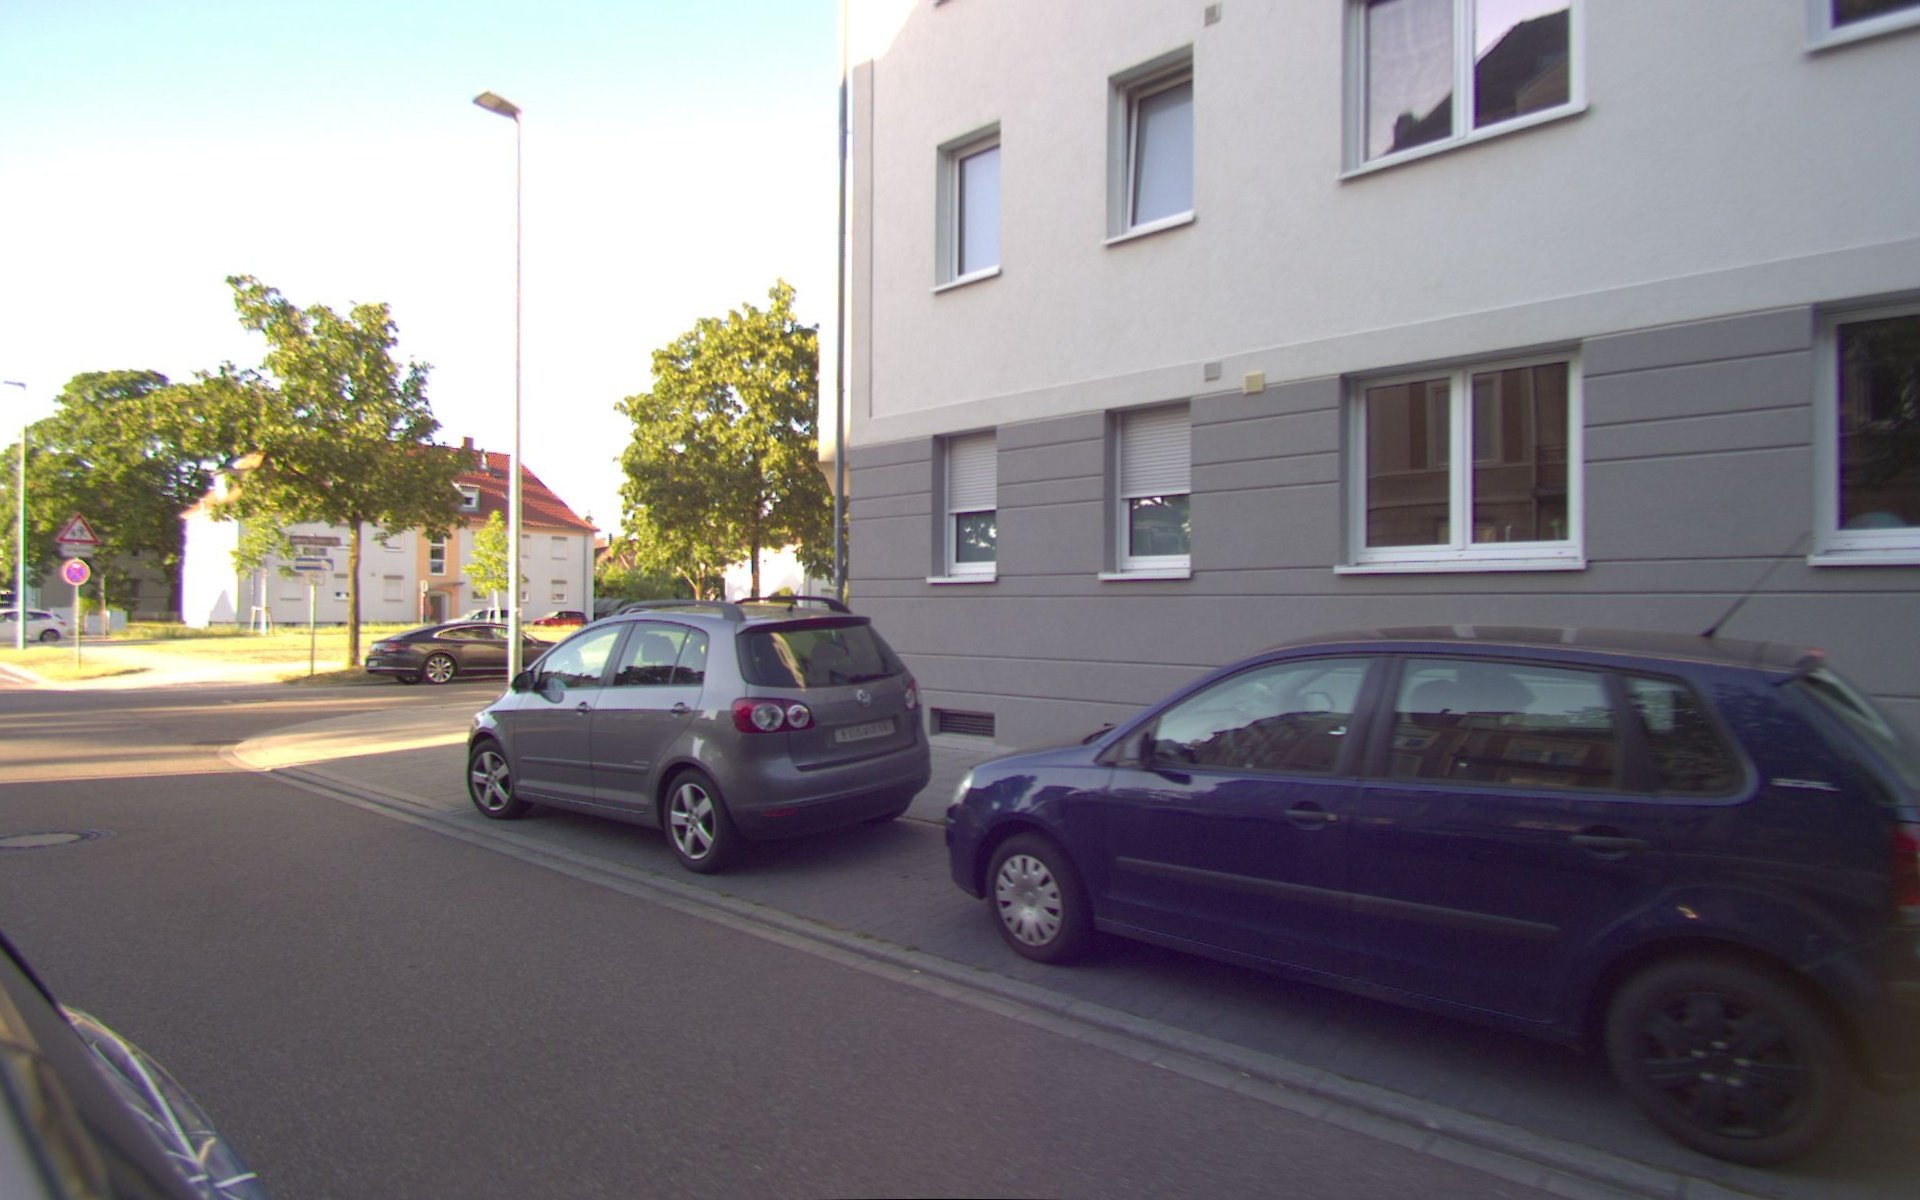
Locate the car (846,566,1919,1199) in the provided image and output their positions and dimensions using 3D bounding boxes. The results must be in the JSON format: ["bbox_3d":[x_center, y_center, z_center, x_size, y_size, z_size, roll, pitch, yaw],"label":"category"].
[{"bbox_3d":[1.628,0.745,4.286,4.085,1.603,1.866,-1,-1,38],"label":"car"}]

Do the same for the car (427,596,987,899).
[{"bbox_3d":[-1.985,0.810,7.375,4.085,1.603,1.866,-1,-1,38],"label":"car"}]

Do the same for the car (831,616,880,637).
[{"bbox_3d":[-8.785,2.209,85.369,1.848,1.708,3.948,-3,-3,38],"label":"car"}]

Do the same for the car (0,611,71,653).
[{"bbox_3d":[-39.743,1.321,41.737,1.862,1.708,4.259,-2,-2,28],"label":"car"}]

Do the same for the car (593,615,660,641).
[{"bbox_3d":[-22.504,1.865,68.302,1.848,1.708,3.948,-3,-3,38],"label":"car"}]

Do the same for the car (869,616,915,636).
[{"bbox_3d":[-5.977,2.298,88.825,1.848,1.708,3.948,-3,-3,38],"label":"car"}]

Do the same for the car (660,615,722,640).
[{"bbox_3d":[-19.270,1.937,72.559,1.848,1.708,3.948,-3,-3,38],"label":"car"}]

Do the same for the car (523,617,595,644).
[{"bbox_3d":[-25.704,1.952,64.987,1.848,1.708,3.948,-3,-3,38],"label":"car"}]

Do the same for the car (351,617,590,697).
[{"bbox_3d":[-11.382,1.240,23.830,1.788,1.682,4.773,-1,-1,41],"label":"car"}]

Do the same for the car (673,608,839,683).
[{"bbox_3d":[-6.035,1.339,30.367,2.031,2.029,4.632,-5,-4,39],"label":"car"}]

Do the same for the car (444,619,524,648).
[{"bbox_3d":[-28.771,2.008,61.246,1.848,1.708,3.948,-3,-3,38],"label":"car"}]
